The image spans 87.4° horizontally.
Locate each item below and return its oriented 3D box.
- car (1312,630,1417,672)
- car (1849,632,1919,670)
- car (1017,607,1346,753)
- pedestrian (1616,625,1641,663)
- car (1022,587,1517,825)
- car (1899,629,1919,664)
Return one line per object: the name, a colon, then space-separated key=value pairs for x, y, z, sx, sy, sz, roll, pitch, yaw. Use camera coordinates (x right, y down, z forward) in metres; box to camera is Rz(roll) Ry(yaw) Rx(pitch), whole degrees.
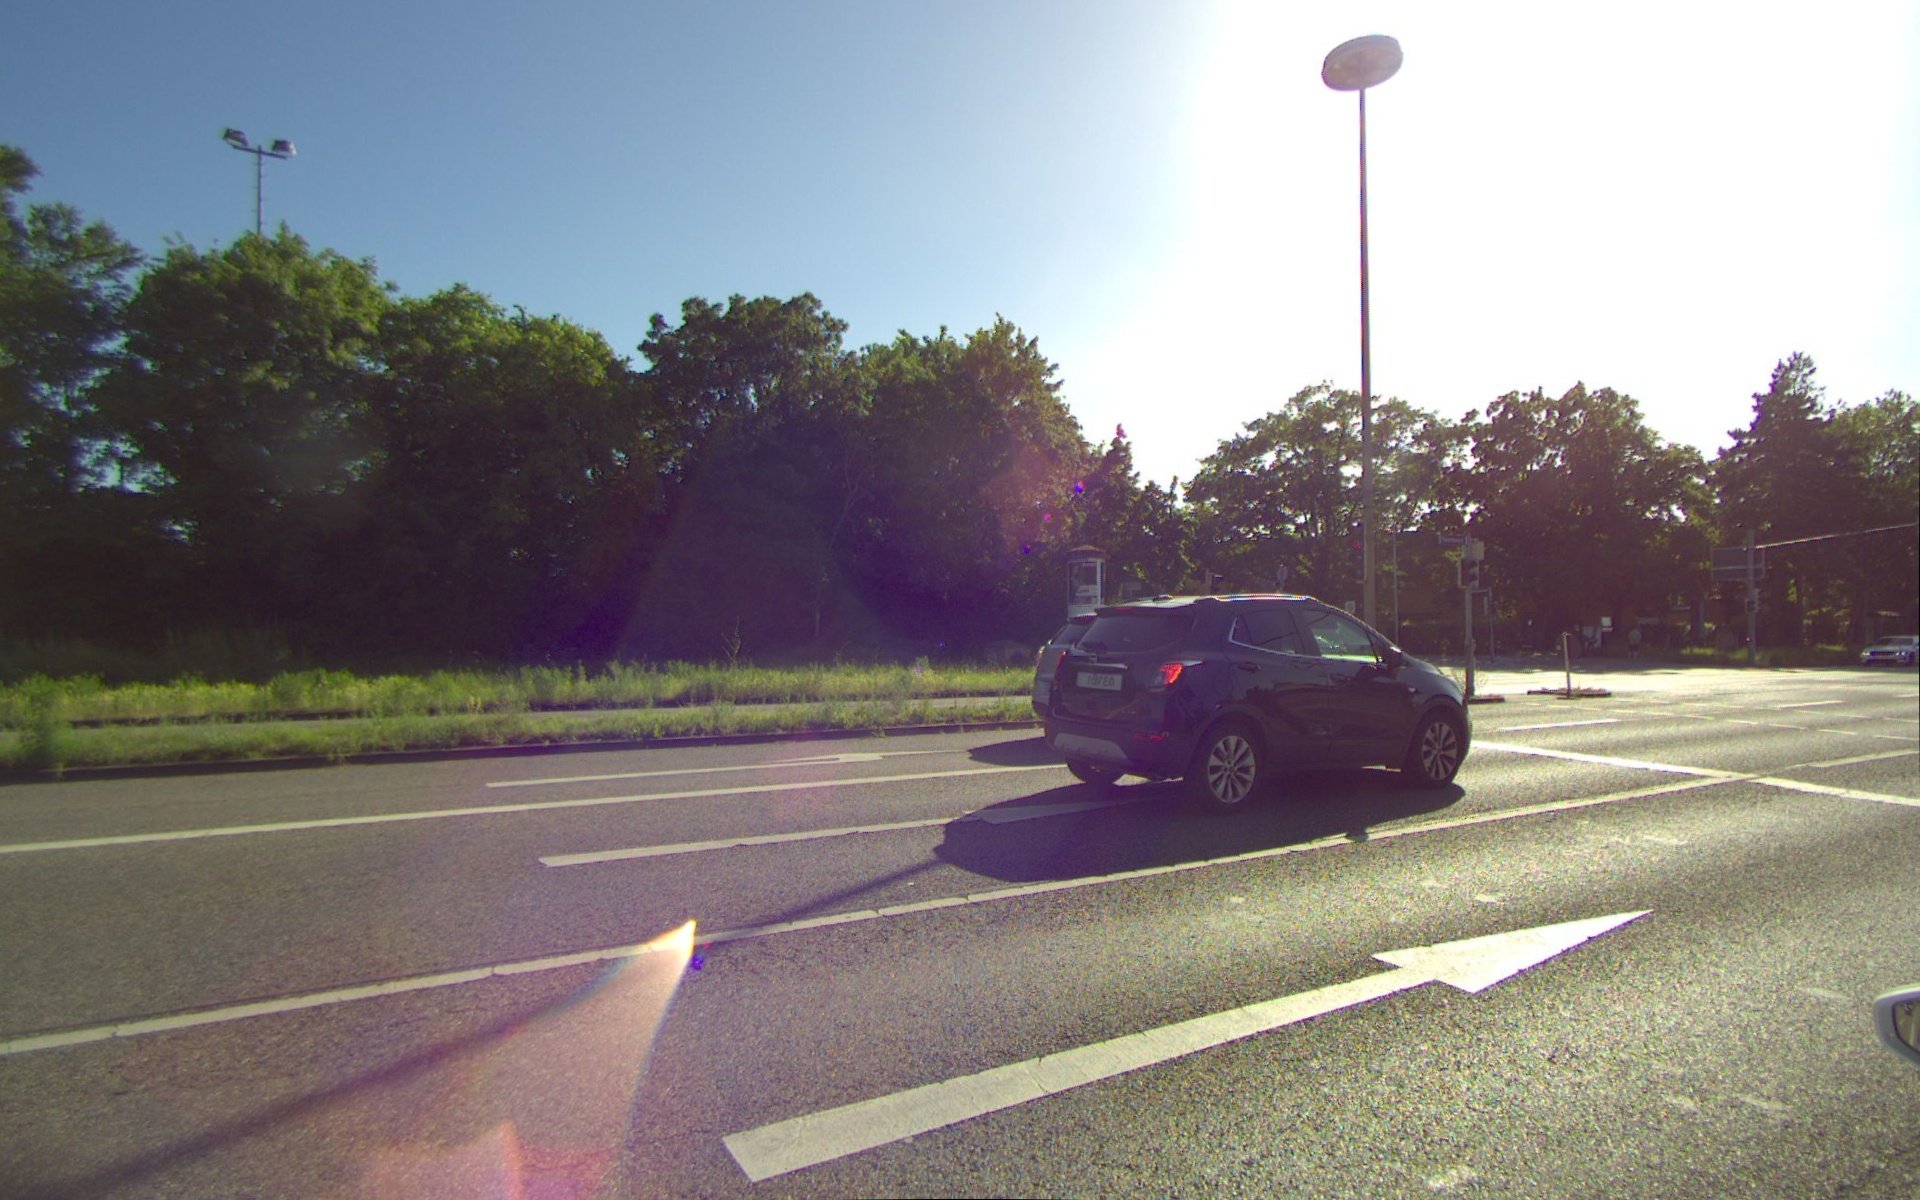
car: x=16.385 y=2.053 z=40.866 sx=1.841 sy=1.442 sz=3.914 roll=2 pitch=0 yaw=-19
car: x=44.742 y=2.434 z=48.217 sx=4.210 sy=1.706 sz=1.855 roll=2 pitch=0 yaw=-30
car: x=2.918 y=0.953 z=13.001 sx=4.058 sy=1.631 sz=1.776 roll=1 pitch=-2 yaw=-30
pedestrian: x=33.320 y=2.171 z=50.060 sx=0.542 sy=1.859 sz=0.843 roll=1 pitch=-2 yaw=-26
car: x=2.822 y=0.804 z=8.855 sx=4.366 sy=1.653 sz=1.688 roll=1 pitch=-2 yaw=-30
car: x=51.213 y=2.456 z=52.575 sx=3.953 sy=1.773 sz=1.984 roll=2 pitch=0 yaw=-30
